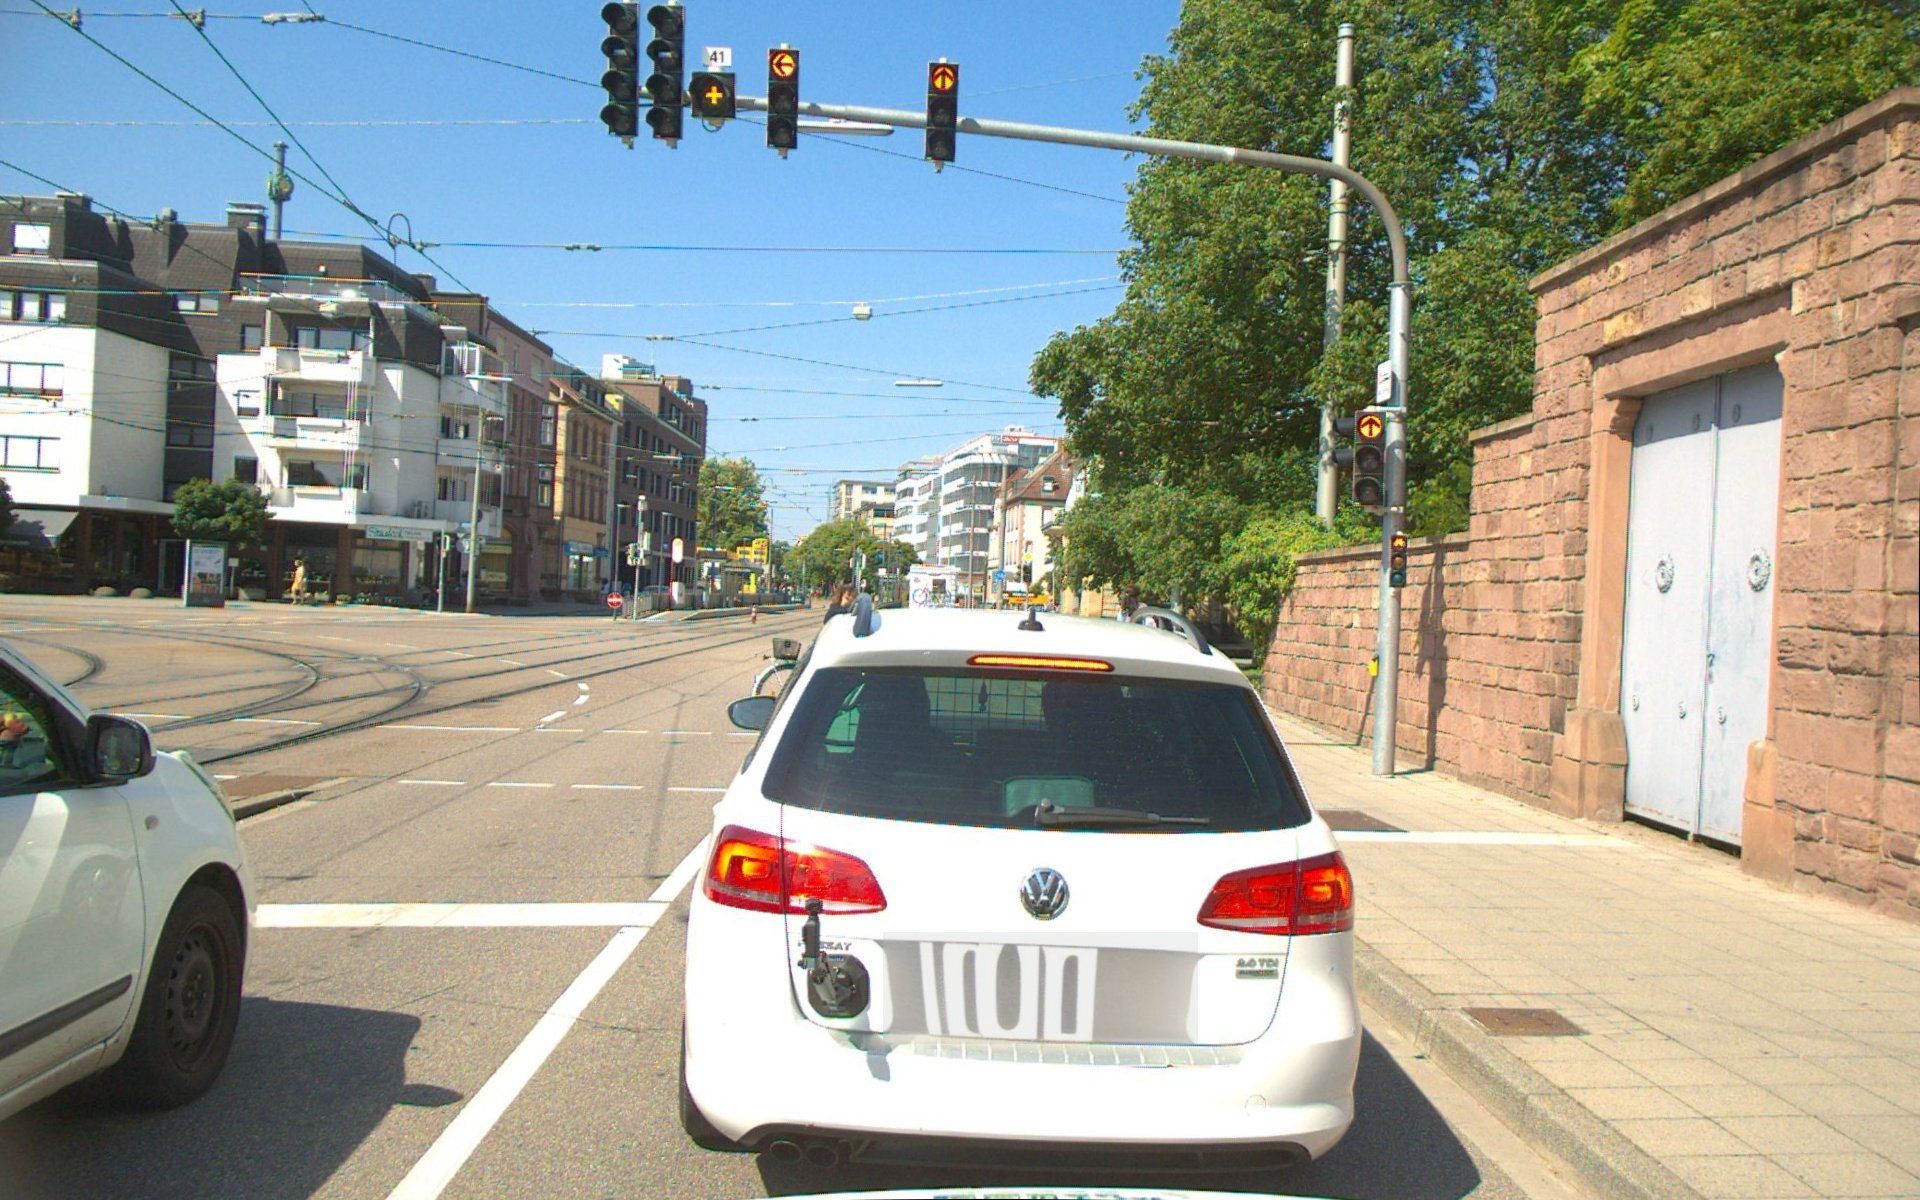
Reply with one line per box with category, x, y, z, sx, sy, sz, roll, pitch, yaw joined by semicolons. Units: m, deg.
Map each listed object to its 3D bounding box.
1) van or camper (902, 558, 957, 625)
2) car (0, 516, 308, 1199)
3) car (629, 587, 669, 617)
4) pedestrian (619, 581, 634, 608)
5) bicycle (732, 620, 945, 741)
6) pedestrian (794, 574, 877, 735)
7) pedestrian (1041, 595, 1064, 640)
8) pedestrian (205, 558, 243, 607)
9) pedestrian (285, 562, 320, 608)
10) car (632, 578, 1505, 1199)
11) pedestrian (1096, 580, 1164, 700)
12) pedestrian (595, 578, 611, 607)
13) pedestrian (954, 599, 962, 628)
van or camper;-1.432;-0.340;80.788;2.514;3.147;5.702;0;-1;1
car;-2.839;0.613;3.310;1.608;1.593;3.803;1;1;-1
car;-17.629;0.126;93.908;1.706;1.646;3.996;0;-1;-4
pedestrian;-21.967;-0.357;108.885;0.845;1.773;0.973;1;-1;-6
bicycle;-1.212;0.796;16.371;1.985;1.109;0.708;2;0;-14
pedestrian;-1.276;0.546;16.868;0.733;1.599;0.673;1;1;-13
pedestrian;3.636;0.685;65.079;0.843;1.773;0.975;0;-1;6
pedestrian;-27.203;-0.643;61.125;0.845;1.773;0.973;0;-1;28
pedestrian;-25.888;-0.576;65.100;0.847;1.773;0.971;0;-1;35
car;0.191;0.717;5.429;1.771;1.473;3.999;2;0;-1
pedestrian;2.426;0.567;23.624;0.932;1.680;0.975;0;-1;6
pedestrian;-22.205;-0.445;102.878;0.845;1.773;0.973;1;-1;-6
pedestrian;-0.154;1.138;137.755;0.675;2.366;1.232;0;-1;0
